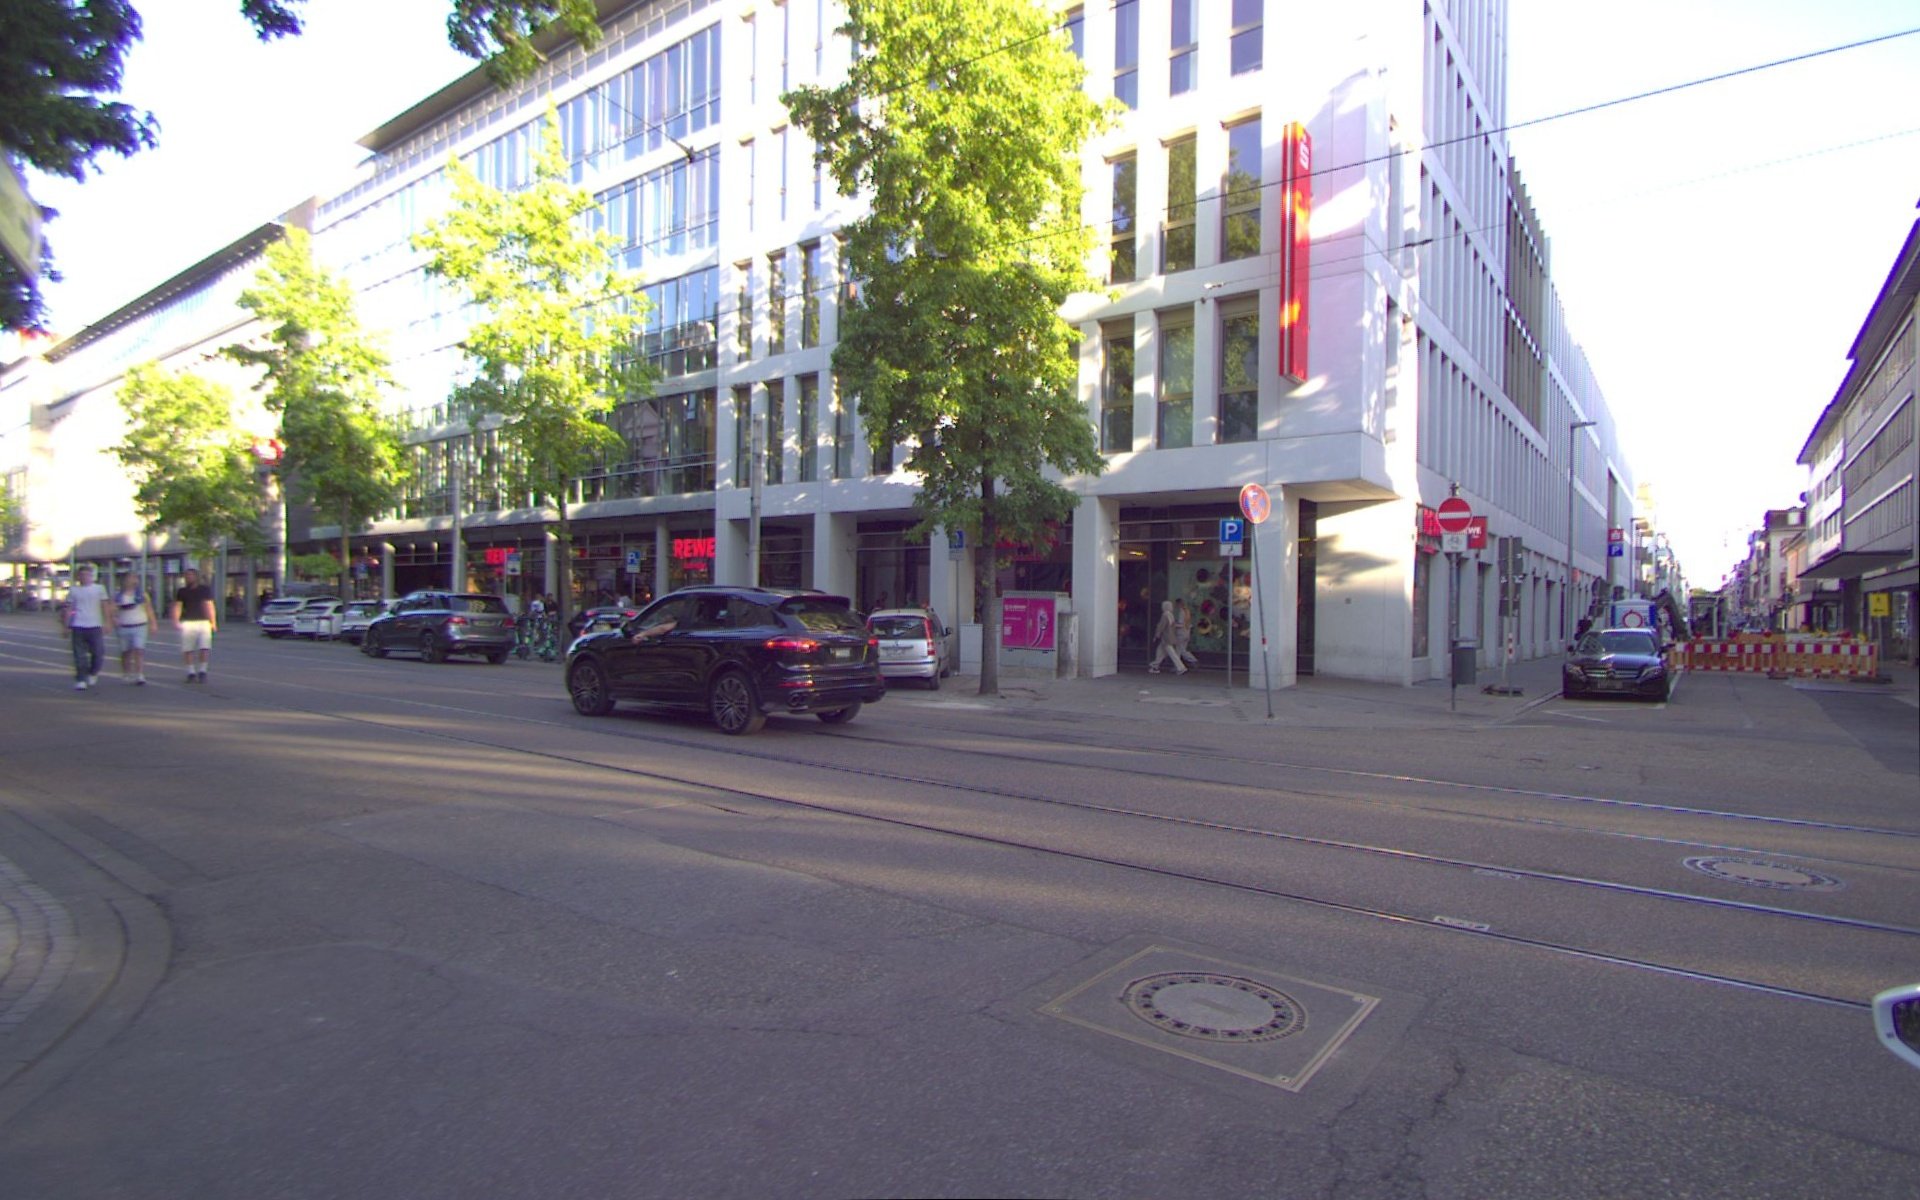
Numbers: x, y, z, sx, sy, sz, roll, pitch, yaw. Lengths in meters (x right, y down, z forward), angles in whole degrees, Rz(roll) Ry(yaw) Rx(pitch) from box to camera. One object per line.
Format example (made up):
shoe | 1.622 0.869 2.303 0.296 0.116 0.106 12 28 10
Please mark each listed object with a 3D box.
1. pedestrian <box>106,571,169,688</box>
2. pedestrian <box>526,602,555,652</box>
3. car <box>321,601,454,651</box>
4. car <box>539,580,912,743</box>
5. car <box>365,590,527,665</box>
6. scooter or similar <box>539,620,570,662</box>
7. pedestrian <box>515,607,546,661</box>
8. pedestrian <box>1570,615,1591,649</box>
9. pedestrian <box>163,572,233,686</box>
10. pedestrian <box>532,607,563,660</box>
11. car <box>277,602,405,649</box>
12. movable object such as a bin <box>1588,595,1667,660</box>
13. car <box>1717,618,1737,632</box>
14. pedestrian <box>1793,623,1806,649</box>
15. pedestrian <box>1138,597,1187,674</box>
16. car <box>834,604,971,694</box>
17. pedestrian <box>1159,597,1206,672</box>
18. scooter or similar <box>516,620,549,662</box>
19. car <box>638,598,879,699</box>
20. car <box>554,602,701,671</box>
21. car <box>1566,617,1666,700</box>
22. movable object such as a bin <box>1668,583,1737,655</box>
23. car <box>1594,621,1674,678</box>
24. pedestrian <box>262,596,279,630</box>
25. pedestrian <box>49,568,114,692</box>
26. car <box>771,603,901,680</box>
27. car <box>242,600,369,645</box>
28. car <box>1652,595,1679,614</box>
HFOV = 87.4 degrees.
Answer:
pedestrian | -14.010 0.495 17.101 1.054 1.927 0.709 -1 -1 44
pedestrian | -14.025 0.896 33.609 0.631 1.649 0.611 1 0 28
car | -20.135 0.878 35.557 1.911 1.526 3.999 -2 1 10
car | -3.152 0.658 13.045 4.865 1.749 2.015 1 -1 36
car | -13.124 0.682 25.600 4.213 1.760 1.864 0 -2 35
scooter or similar | -11.173 1.113 27.723 0.383 1.085 1.803 1 -1 -9
pedestrian | -13.425 1.053 31.416 0.600 1.649 0.642 1 0 24
pedestrian | 27.556 1.419 44.609 0.707 1.484 0.523 -1 -1 40
pedestrian | -13.342 0.501 17.592 1.054 1.927 0.822 -1 -1 44
pedestrian | -13.260 1.070 32.294 0.600 1.649 0.642 1 0 24
car | -23.552 0.935 38.387 1.911 1.526 3.999 -2 1 10
movable object such as a bin | 22.449 0.904 33.722 1.969 2.040 3.984 -1 -1 37
car | 99.403 3.240 130.162 1.968 1.800 3.985 -1 -1 37
pedestrian | 49.225 2.123 58.867 0.713 1.484 0.518 1 0 -45
pedestrian | 4.468 0.770 22.183 0.859 1.649 0.609 1 0 36
car | -1.075 0.940 20.879 1.911 1.526 3.999 -2 1 10
pedestrian | 5.005 0.773 22.608 0.859 1.649 0.609 1 0 36
scooter or similar | -11.805 1.117 27.792 0.383 1.085 1.803 1 -1 -9
car | -3.690 0.825 18.125 4.213 1.613 1.823 0 -2 35
car | -8.535 0.891 26.191 1.911 1.526 3.999 -2 1 10
car | 13.609 1.149 20.855 1.607 1.571 3.133 -1 -1 34
movable object such as a bin | 29.758 0.760 40.279 2.129 2.699 4.555 0 -1 37
car | 19.014 1.352 28.383 1.765 1.471 3.133 -1 -1 34
pedestrian | -37.732 0.726 54.955 0.603 1.864 0.595 0 0 35
pedestrian | -14.258 0.480 16.300 1.054 1.927 0.709 -1 -1 44
car | -2.832 0.929 23.907 1.911 1.526 3.999 -2 1 10
car | -25.843 0.845 39.836 1.911 1.526 3.999 -2 1 10
car | 68.783 0.490 97.895 1.968 1.800 3.985 -1 -1 37
